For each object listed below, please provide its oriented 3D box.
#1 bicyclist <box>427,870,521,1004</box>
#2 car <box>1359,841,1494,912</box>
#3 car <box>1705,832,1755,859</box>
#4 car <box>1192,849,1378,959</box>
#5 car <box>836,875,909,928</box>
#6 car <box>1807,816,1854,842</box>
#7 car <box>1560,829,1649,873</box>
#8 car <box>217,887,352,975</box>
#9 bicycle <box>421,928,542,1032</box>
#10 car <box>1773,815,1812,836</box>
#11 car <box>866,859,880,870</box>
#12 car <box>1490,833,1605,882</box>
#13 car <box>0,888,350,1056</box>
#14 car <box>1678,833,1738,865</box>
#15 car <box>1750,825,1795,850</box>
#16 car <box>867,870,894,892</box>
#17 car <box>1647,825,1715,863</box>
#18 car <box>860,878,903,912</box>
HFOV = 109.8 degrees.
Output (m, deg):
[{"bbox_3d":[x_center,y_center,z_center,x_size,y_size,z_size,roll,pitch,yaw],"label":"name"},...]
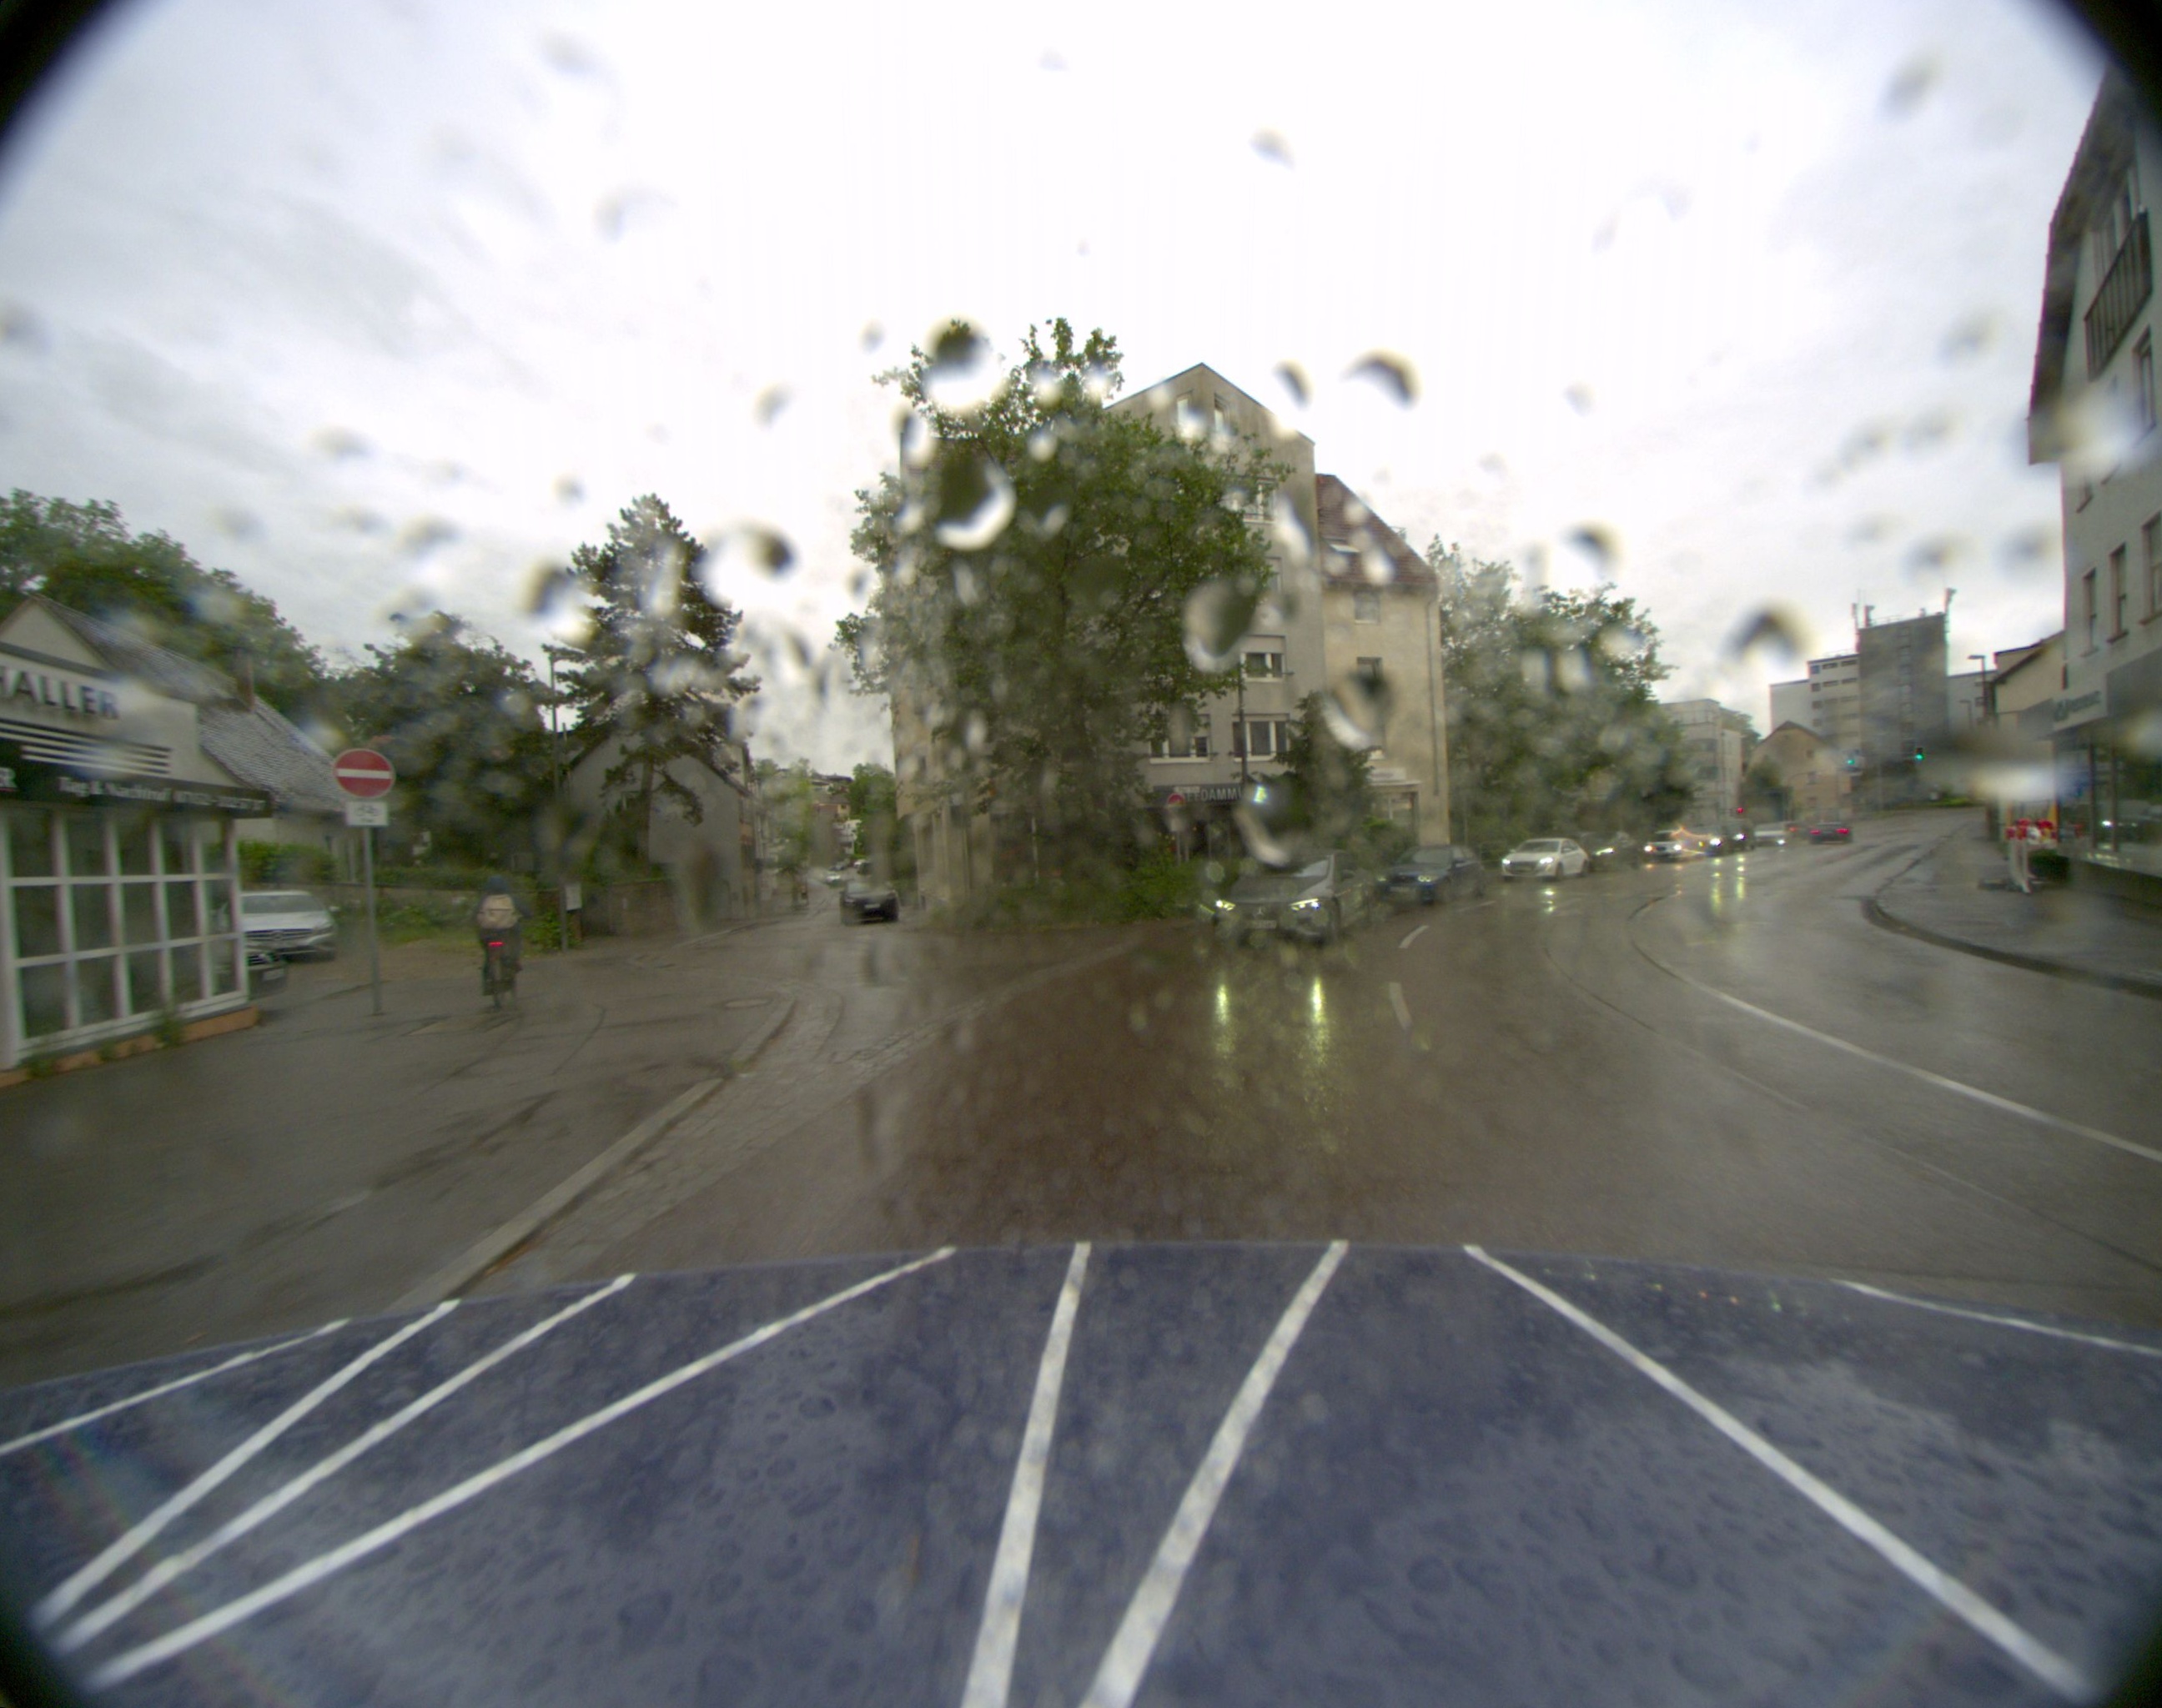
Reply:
[{"bbox_3d":[-7.447,0.974,9.370,0.686,1.509,1.028,-3,0,-29],"label":"bicyclist"},{"bbox_3d":[9.001,0.506,19.598,1.770,1.524,4.386,-2,1,44],"label":"car"},{"bbox_3d":[39.601,-0.546,46.320,4.007,1.469,1.849,-3,1,-43],"label":"car"},{"bbox_3d":[3.745,0.749,13.335,1.995,1.484,4.321,-2,1,31],"label":"car"},{"bbox_3d":[-7.543,1.662,27.893,2.000,1.641,3.997,-3,0,-8],"label":"car"},{"bbox_3d":[49.184,-1.656,49.836,4.007,1.556,1.810,-3,0,-40],"label":"car"},{"bbox_3d":[21.391,-0.148,31.009,4.007,1.556,1.810,-3,-1,-38],"label":"car"},{"bbox_3d":[-17.152,1.531,16.326,3.988,1.465,1.837,1,0,42],"label":"car"},{"bbox_3d":[-7.409,1.499,9.494,0.765,1.028,2.077,-3,-2,-27],"label":"bicycle"},{"bbox_3d":[58.494,-2.351,62.436,4.007,1.586,1.995,-3,0,-42],"label":"car"},{"bbox_3d":[-32.704,1.628,119.592,2.001,1.563,3.996,-2,-2,-16],"label":"car"},{"bbox_3d":[16.236,0.108,26.400,4.006,1.444,1.995,-4,0,-37],"label":"car"},{"bbox_3d":[-12.213,1.387,9.402,4.006,1.760,1.997,4,-3,-22],"label":"car"},{"bbox_3d":[34.212,-0.280,41.438,4.007,1.542,1.829,-3,-1,-41],"label":"car"},{"bbox_3d":[46.940,-1.123,51.562,4.008,1.542,1.995,-1,-2,-45],"label":"car"},{"bbox_3d":[-16.545,2.188,62.845,2.001,1.565,3.995,-4,0,-15],"label":"car"},{"bbox_3d":[29.021,-0.494,36.715,4.007,1.612,1.841,-3,1,-41],"label":"car"},{"bbox_3d":[-10.299,2.070,39.263,2.001,1.564,3.996,-2,-2,-15],"label":"car"}]
